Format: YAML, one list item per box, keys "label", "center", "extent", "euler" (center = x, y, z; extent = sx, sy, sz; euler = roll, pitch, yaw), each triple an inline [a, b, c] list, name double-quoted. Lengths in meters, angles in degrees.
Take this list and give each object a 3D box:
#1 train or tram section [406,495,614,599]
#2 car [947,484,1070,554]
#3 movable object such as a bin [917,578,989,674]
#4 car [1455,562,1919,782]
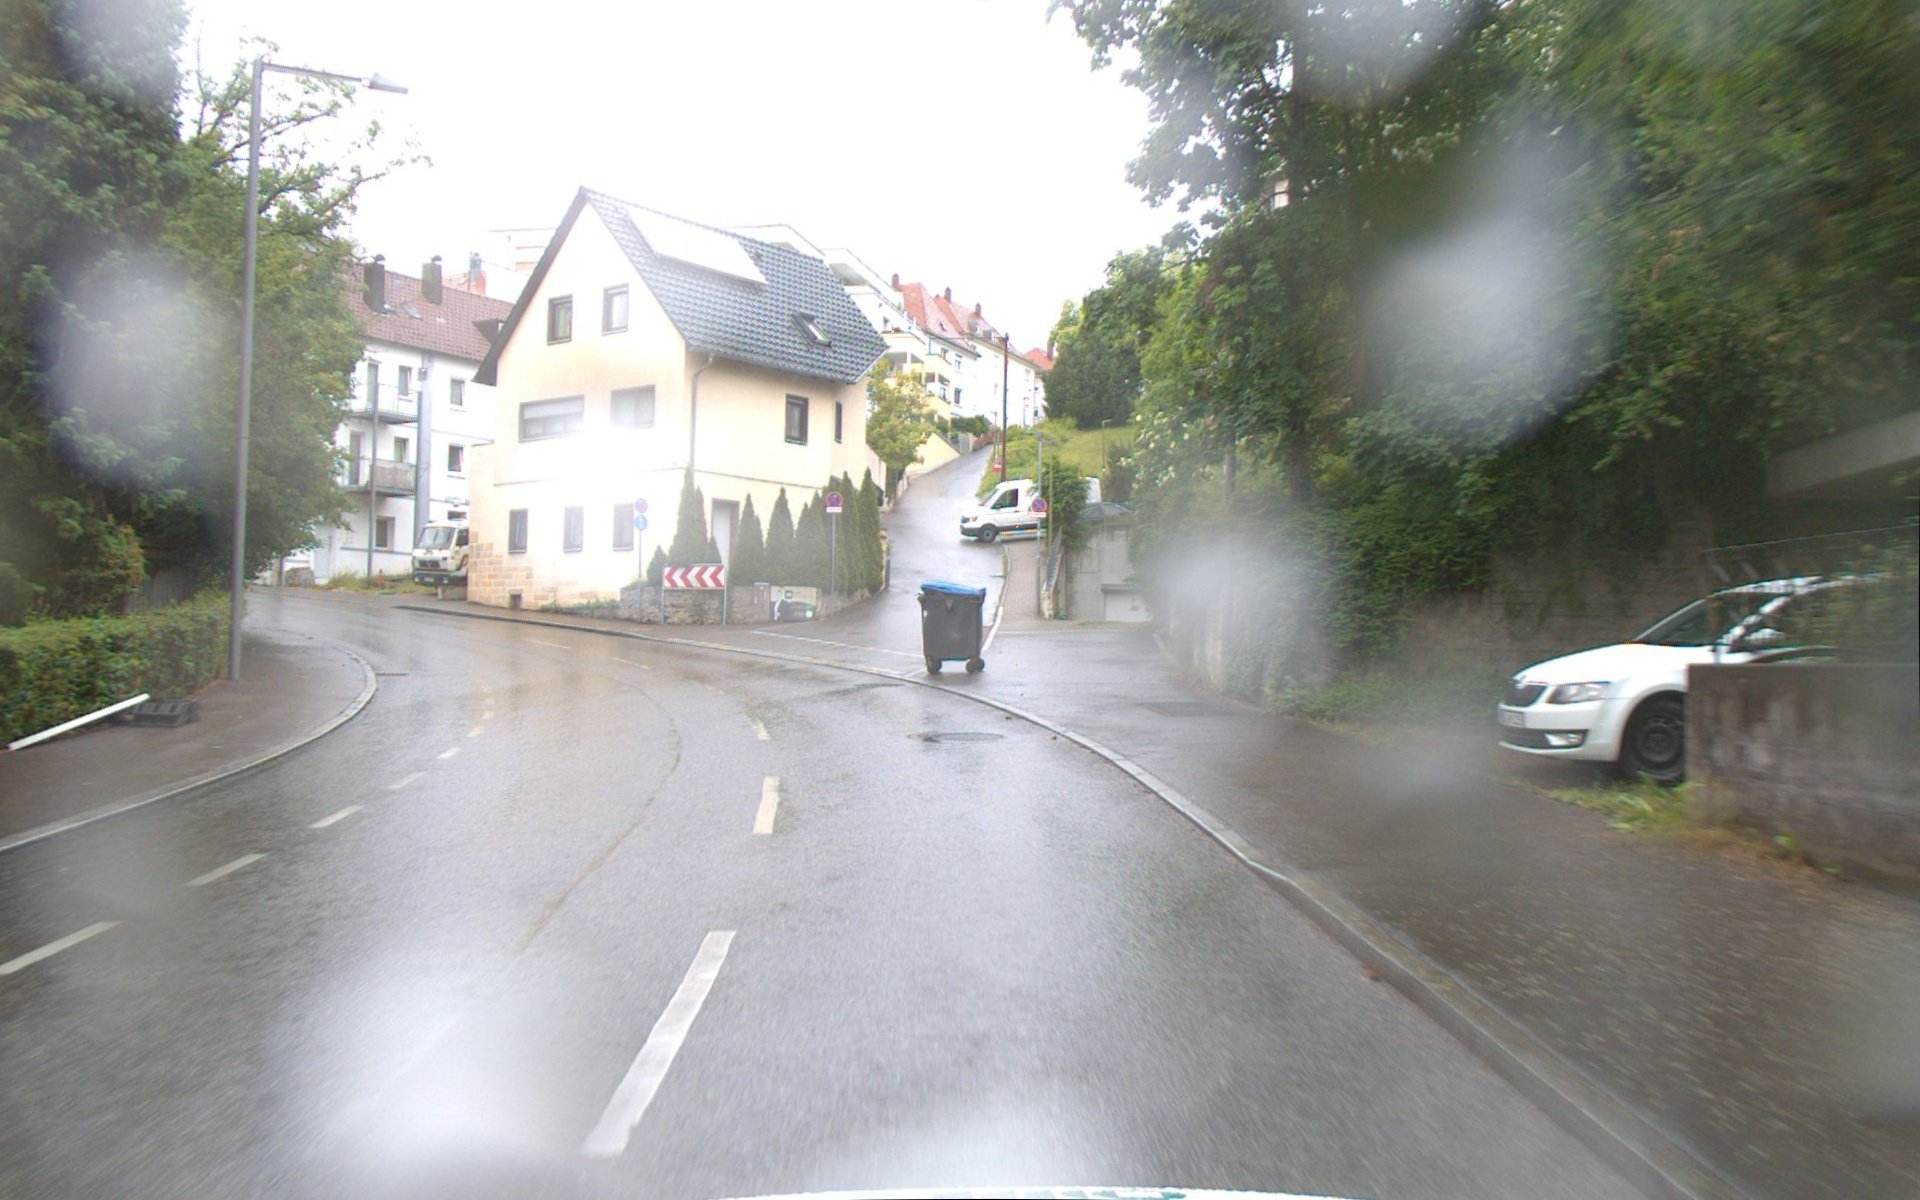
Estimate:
- label: "train or tram section"
  center: [-14.882, -1.689, 55.212]
  extent: [2.317, 3.259, 6.847]
  euler: [1, 1, 34]
- label: "car"
  center: [1.948, -3.292, 67.641]
  extent: [4.843, 2.614, 1.904]
  euler: [-2, 0, -2]
- label: "movable object such as a bin"
  center: [-0.094, 0.399, 26.395]
  extent: [1.059, 1.467, 1.458]
  euler: [1, 0, 2]
- label: "car"
  center: [6.203, 0.498, 12.947]
  extent: [4.059, 1.502, 1.904]
  euler: [-2, 0, -1]
